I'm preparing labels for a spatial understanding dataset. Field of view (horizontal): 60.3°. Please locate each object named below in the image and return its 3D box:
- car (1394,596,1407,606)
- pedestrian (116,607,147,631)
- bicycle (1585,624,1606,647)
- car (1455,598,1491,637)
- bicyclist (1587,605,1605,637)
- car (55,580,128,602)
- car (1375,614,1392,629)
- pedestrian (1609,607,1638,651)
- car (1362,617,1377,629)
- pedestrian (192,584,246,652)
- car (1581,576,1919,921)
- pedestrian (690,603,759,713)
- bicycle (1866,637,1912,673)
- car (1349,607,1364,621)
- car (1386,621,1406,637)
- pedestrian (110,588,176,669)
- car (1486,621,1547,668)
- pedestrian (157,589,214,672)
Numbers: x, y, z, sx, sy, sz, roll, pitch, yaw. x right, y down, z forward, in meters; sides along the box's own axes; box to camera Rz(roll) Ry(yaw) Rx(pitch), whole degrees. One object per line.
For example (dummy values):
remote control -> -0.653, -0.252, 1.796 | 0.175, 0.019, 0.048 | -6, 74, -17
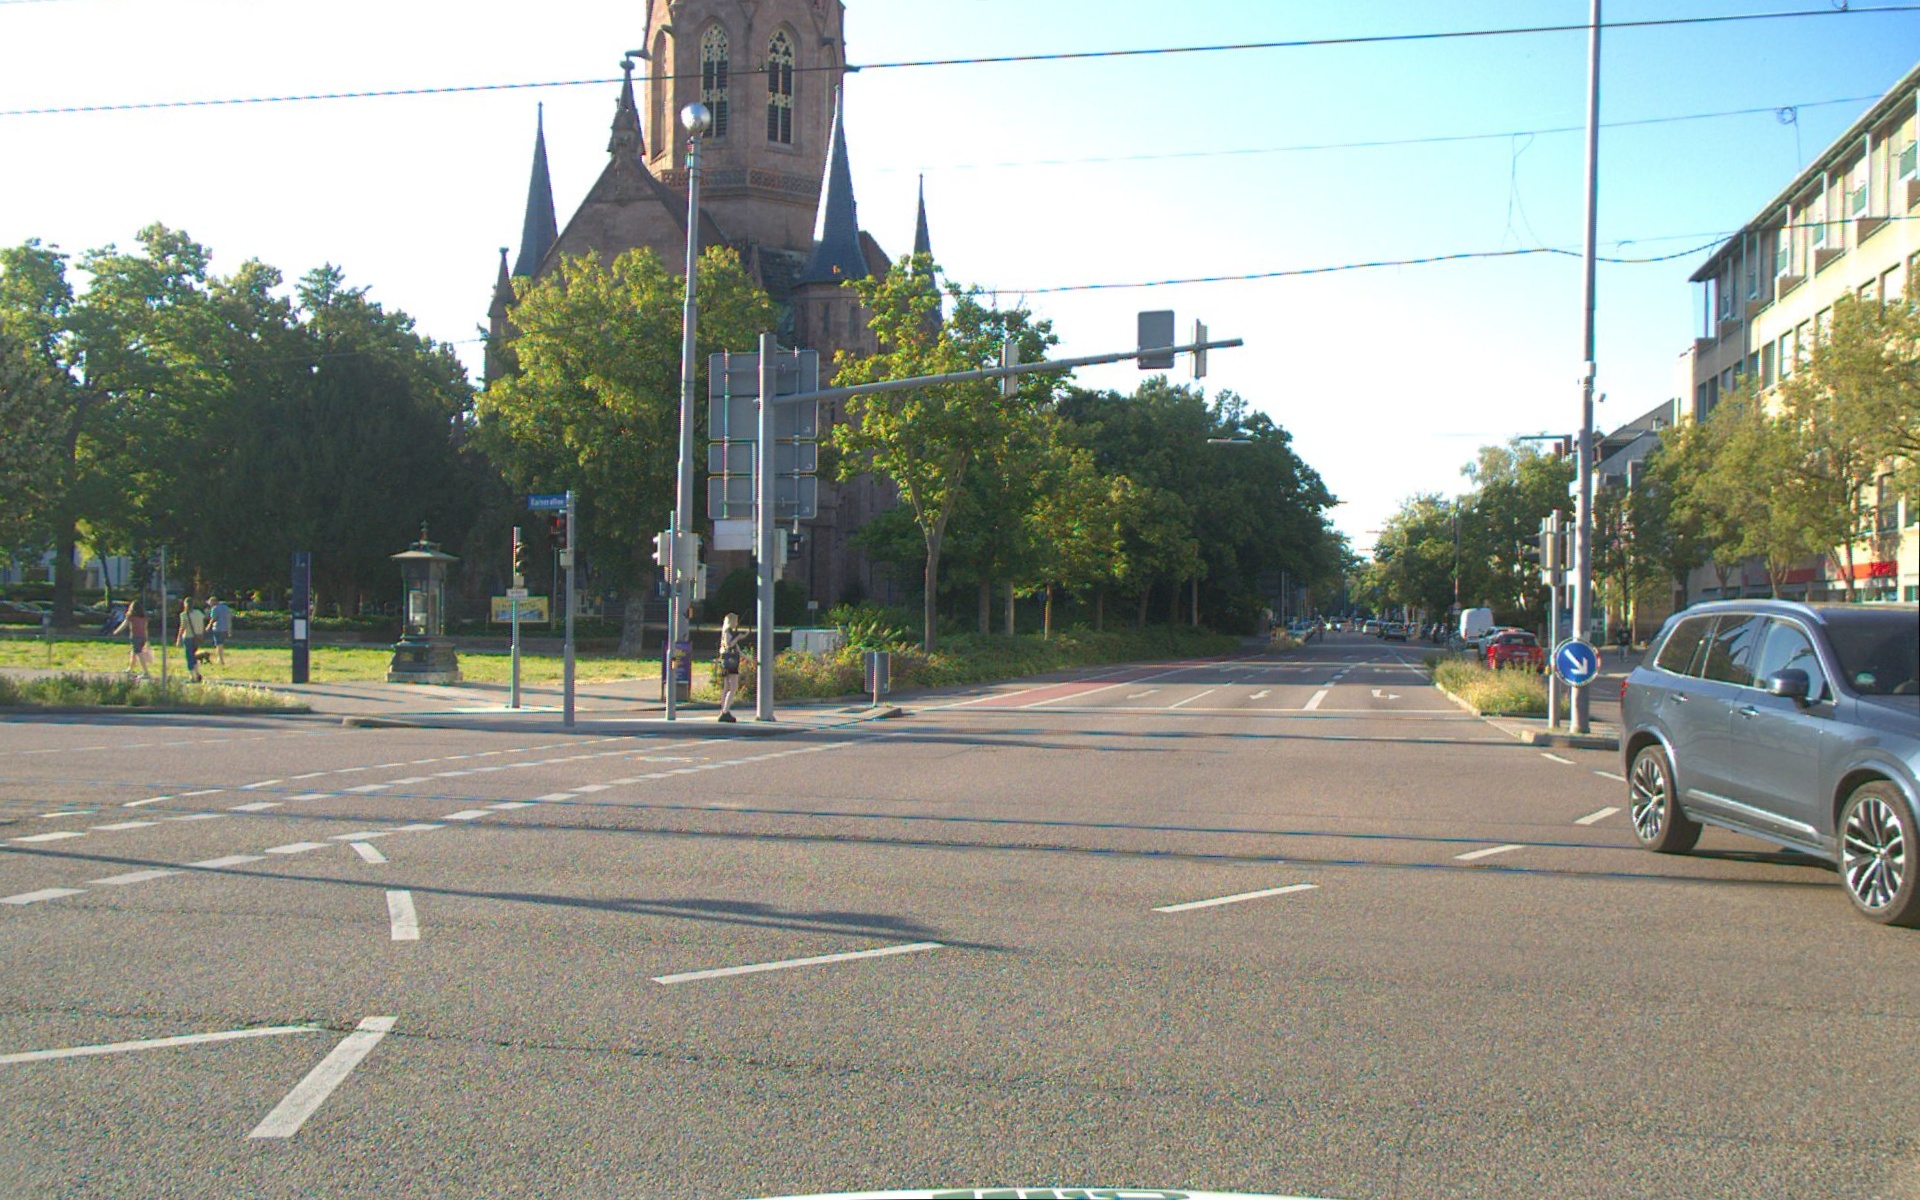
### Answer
car -> 58.034, 0.114, 217.910 | 1.561, 1.289, 3.269 | 1, 0, 14
pedestrian -> -34.469, 0.792, 68.834 | 0.786, 0.970, 1.172 | 2, 0, -7
bicycle -> 28.465, 1.573, 74.096 | 0.579, 0.959, 1.980 | 2, 1, 14
car -> 34.057, 1.137, 109.818 | 1.951, 2.483, 4.003 | 2, 0, 14
bicyclist -> 28.480, 0.952, 74.074 | 0.579, 1.393, 0.930 | 2, 1, 14
car -> -64.297, -0.646, 122.445 | 4.357, 1.599, 2.001 | 1, 0, 2
car -> 40.438, 2.040, 157.934 | 1.561, 1.289, 3.269 | 1, 0, 14
pedestrian -> 30.600, 1.318, 76.262 | 1.084, 2.011, 1.162 | 1, -1, 14
car -> 43.717, 2.441, 176.549 | 1.561, 1.289, 3.269 | 1, 0, 14
pedestrian -> -19.314, 0.455, 43.127 | 0.993, 1.726, 0.844 | 2, 0, -3
car -> 5.844, 0.802, 10.374 | 1.953, 1.754, 5.030 | 1, -1, -1
pedestrian -> -3.888, 0.937, 27.328 | 0.792, 1.770, 0.969 | 1, -1, 15
bicycle -> 27.943, 1.637, 49.784 | 0.632, 1.012, 2.082 | 1, 0, 13
car -> 51.559, 1.825, 215.136 | 1.846, 1.700, 4.003 | 2, 0, 14
car -> 37.306, 2.493, 141.549 | 1.561, 1.289, 3.269 | 1, 0, 14
pedestrian -> -17.880, 0.612, 36.195 | 0.994, 1.726, 0.843 | 2, 0, 28
car -> 19.387, 1.528, 57.695 | 1.634, 1.488, 4.003 | 2, 0, 14
pedestrian -> -16.498, 0.638, 35.251 | 0.877, 1.726, 0.708 | 2, 0, 34
